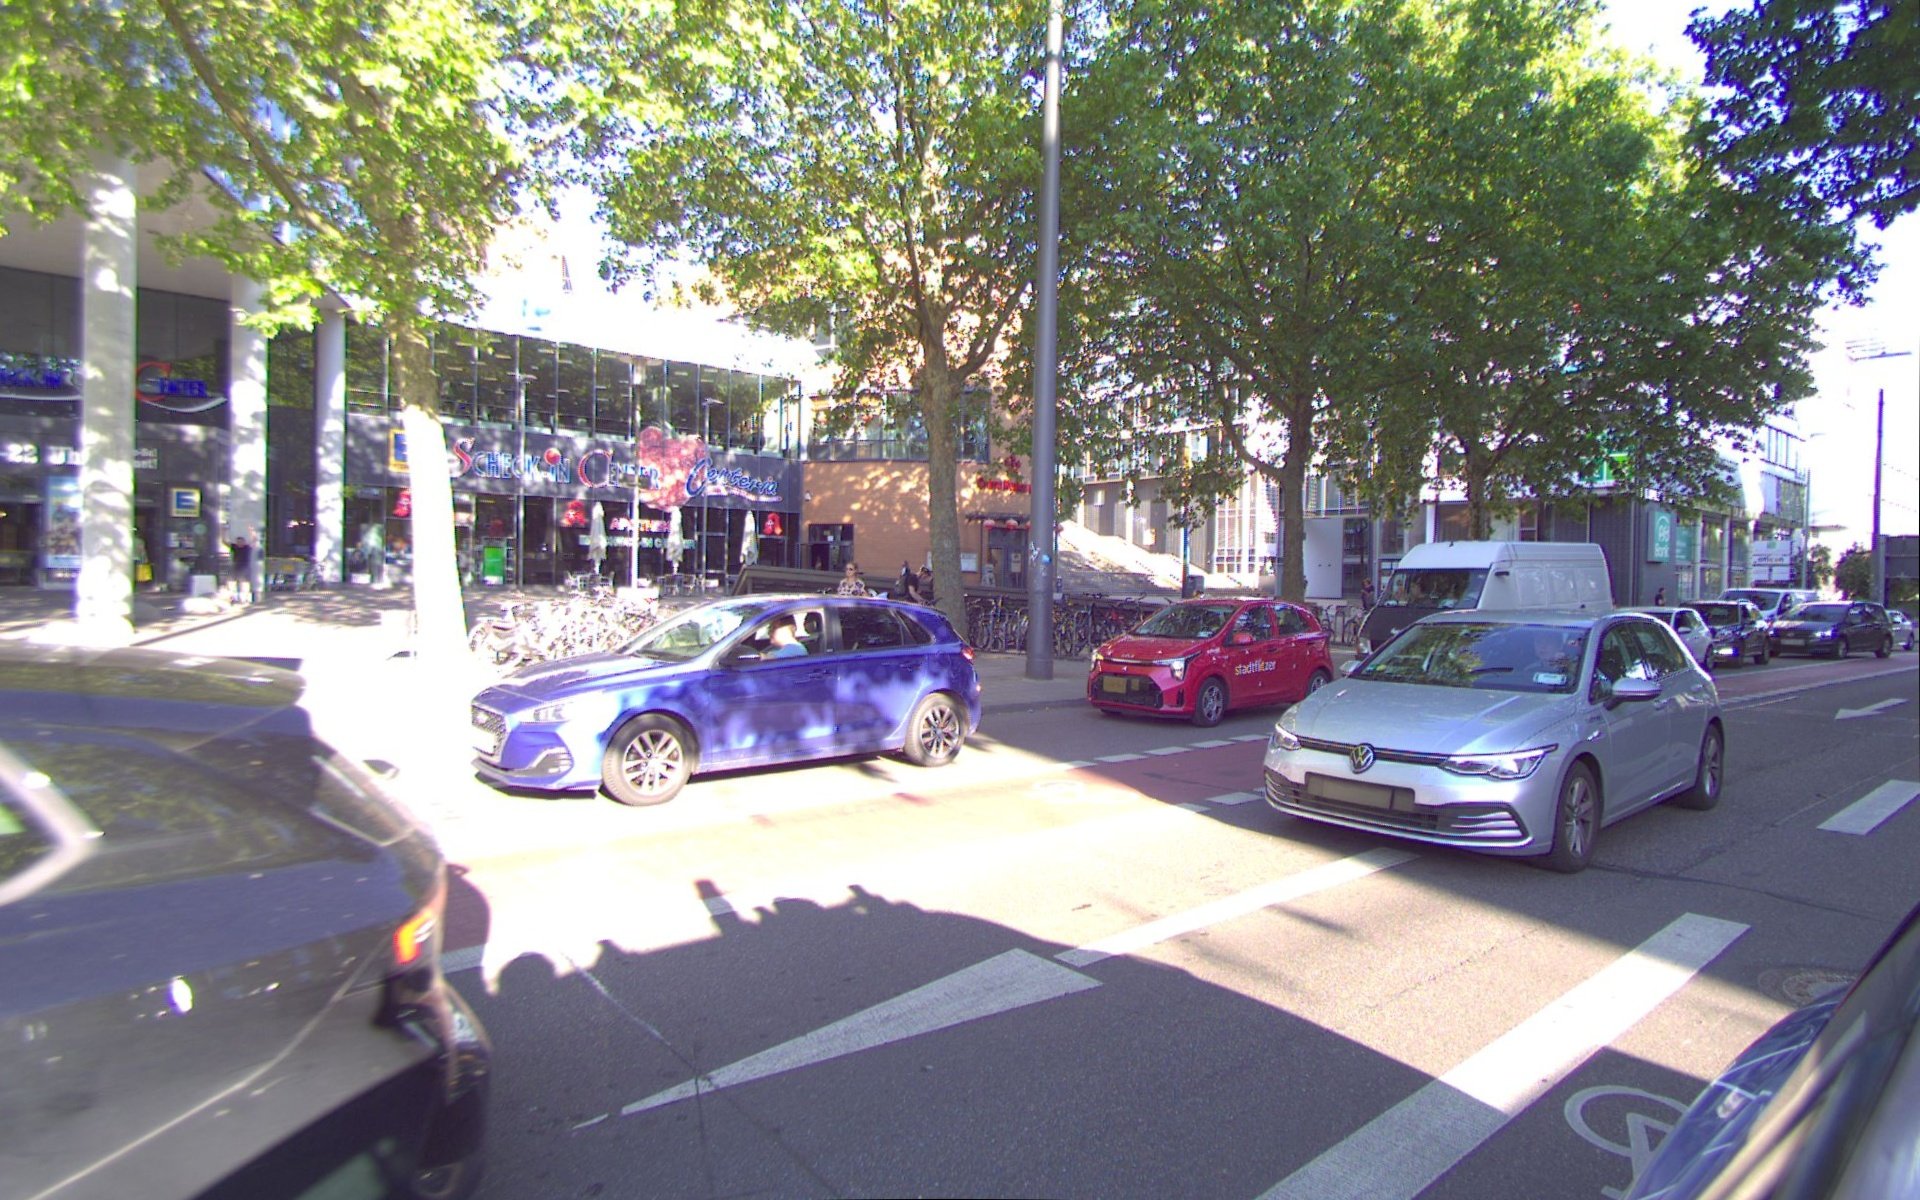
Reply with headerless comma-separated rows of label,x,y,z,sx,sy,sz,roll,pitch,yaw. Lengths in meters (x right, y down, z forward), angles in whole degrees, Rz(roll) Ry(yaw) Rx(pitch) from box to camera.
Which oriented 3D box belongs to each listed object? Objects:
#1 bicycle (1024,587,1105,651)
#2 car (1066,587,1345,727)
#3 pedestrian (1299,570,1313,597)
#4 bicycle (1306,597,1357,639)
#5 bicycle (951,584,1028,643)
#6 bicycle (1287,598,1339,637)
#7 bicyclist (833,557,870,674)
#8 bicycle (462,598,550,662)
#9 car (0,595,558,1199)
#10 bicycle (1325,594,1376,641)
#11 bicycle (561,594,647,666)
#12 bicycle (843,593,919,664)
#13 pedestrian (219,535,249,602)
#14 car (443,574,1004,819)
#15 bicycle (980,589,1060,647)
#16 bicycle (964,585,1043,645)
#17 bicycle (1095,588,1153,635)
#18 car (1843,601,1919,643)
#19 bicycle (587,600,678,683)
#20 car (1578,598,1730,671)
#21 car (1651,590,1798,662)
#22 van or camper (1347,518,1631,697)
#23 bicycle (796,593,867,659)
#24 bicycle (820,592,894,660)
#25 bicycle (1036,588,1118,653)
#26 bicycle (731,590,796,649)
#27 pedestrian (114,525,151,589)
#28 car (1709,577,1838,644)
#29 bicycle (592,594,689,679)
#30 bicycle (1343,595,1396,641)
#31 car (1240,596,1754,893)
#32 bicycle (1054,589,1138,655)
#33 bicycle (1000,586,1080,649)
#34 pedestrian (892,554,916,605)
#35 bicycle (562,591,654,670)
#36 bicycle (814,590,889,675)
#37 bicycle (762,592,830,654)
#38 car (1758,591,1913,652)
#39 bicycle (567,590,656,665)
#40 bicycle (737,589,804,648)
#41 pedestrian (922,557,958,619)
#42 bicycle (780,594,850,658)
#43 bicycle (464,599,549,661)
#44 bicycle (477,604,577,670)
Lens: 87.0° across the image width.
bicycle,2.113,0.363,20.262,1.818,1.209,0.484,0,1,-41
car,3.141,0.606,12.632,3.588,1.476,1.605,0,1,-41
pedestrian,20.434,-0.957,59.759,0.707,1.578,0.638,1,1,14
bicycle,10.312,0.474,28.047,1.766,1.108,0.522,0,2,-41
bicycle,0.640,0.272,21.705,1.818,1.209,0.434,0,1,-41
bicycle,9.929,0.471,28.457,1.818,1.046,0.515,0,2,-41
bicyclist,-1.684,0.230,15.686,0.392,1.782,0.390,0,1,-41
bicycle,-6.956,0.453,15.546,1.198,0.930,0.442,1,1,-22
car,-2.864,0.710,1.098,4.196,1.432,1.742,0,0,-41
bicycle,10.668,0.462,27.635,1.818,1.209,0.495,0,1,-41
bicycle,-5.759,0.471,16.403,0.414,1.110,1.269,2,1,41
bicycle,-1.285,0.456,16.627,1.202,1.110,0.447,0,1,-40
pedestrian,-18.762,-0.807,26.169,0.506,1.707,0.604,1,1,-23
car,-1.751,0.582,8.332,4.177,1.503,1.742,0,2,-41
bicycle,1.259,0.353,20.972,1.818,1.139,0.484,0,2,-41
bicycle,0.938,0.298,21.351,1.818,1.209,0.458,0,1,-41
bicycle,4.393,0.307,27.070,1.759,1.209,0.517,0,1,-41
car,33.523,0.755,36.522,3.927,1.394,1.802,0,2,-38
bicycle,-4.577,0.564,14.184,1.202,1.110,0.269,0,1,-40
car,15.348,0.689,22.319,3.927,1.446,1.683,0,1,-38
car,19.070,0.595,25.191,4.148,1.640,1.819,0,1,-36
van or camper,9.381,0.094,17.618,6.456,2.611,1.998,0,0,-39
bicycle,-2.234,0.443,17.683,1.202,1.110,0.381,0,1,-40
bicycle,-1.734,0.420,17.080,1.202,1.110,0.420,0,1,-40
bicycle,2.301,0.389,19.754,1.818,1.209,0.448,0,1,-41
bicycle,-3.885,0.373,20.052,1.202,1.110,0.429,0,1,-40
pedestrian,-22.936,-1.187,28.065,0.704,1.728,0.807,1,1,-32
car,26.436,0.308,32.836,4.863,2.020,1.968,0,1,-35
bicycle,-4.390,0.486,13.940,1.202,1.110,0.413,0,1,-40
bicycle,11.036,0.468,27.236,1.818,1.209,0.521,0,2,-41
car,3.806,0.706,6.902,3.928,1.458,1.733,0,0,-39
bicycle,2.624,0.400,19.368,1.818,1.209,0.481,0,1,-41
bicycle,1.632,0.340,20.523,1.818,1.209,0.447,0,1,-41
pedestrian,-2.288,-0.850,41.260,0.575,2.062,0.876,1,1,-35
bicycle,-5.154,0.424,14.843,1.202,1.110,0.396,0,1,-40
bicycle,-1.670,0.487,15.678,1.126,1.271,0.379,0,1,-41
bicycle,-3.053,0.417,18.889,1.202,1.110,0.427,0,1,-40
car,25.240,0.584,29.161,4.242,1.640,1.970,0,1,-28
bicycle,-5.357,0.406,15.591,0.372,1.110,1.269,2,1,41
bicycle,-3.640,0.344,19.509,1.202,1.110,0.444,0,1,-40
pedestrian,-0.598,-0.364,30.063,0.868,1.805,0.604,1,1,-18
bicycle,-2.593,0.448,18.129,1.202,1.110,0.400,0,1,-40
bicycle,-7.118,0.463,15.924,1.198,0.938,0.465,1,1,-22
bicycle,-6.235,0.518,14.599,1.231,0.898,0.462,0,1,-40
